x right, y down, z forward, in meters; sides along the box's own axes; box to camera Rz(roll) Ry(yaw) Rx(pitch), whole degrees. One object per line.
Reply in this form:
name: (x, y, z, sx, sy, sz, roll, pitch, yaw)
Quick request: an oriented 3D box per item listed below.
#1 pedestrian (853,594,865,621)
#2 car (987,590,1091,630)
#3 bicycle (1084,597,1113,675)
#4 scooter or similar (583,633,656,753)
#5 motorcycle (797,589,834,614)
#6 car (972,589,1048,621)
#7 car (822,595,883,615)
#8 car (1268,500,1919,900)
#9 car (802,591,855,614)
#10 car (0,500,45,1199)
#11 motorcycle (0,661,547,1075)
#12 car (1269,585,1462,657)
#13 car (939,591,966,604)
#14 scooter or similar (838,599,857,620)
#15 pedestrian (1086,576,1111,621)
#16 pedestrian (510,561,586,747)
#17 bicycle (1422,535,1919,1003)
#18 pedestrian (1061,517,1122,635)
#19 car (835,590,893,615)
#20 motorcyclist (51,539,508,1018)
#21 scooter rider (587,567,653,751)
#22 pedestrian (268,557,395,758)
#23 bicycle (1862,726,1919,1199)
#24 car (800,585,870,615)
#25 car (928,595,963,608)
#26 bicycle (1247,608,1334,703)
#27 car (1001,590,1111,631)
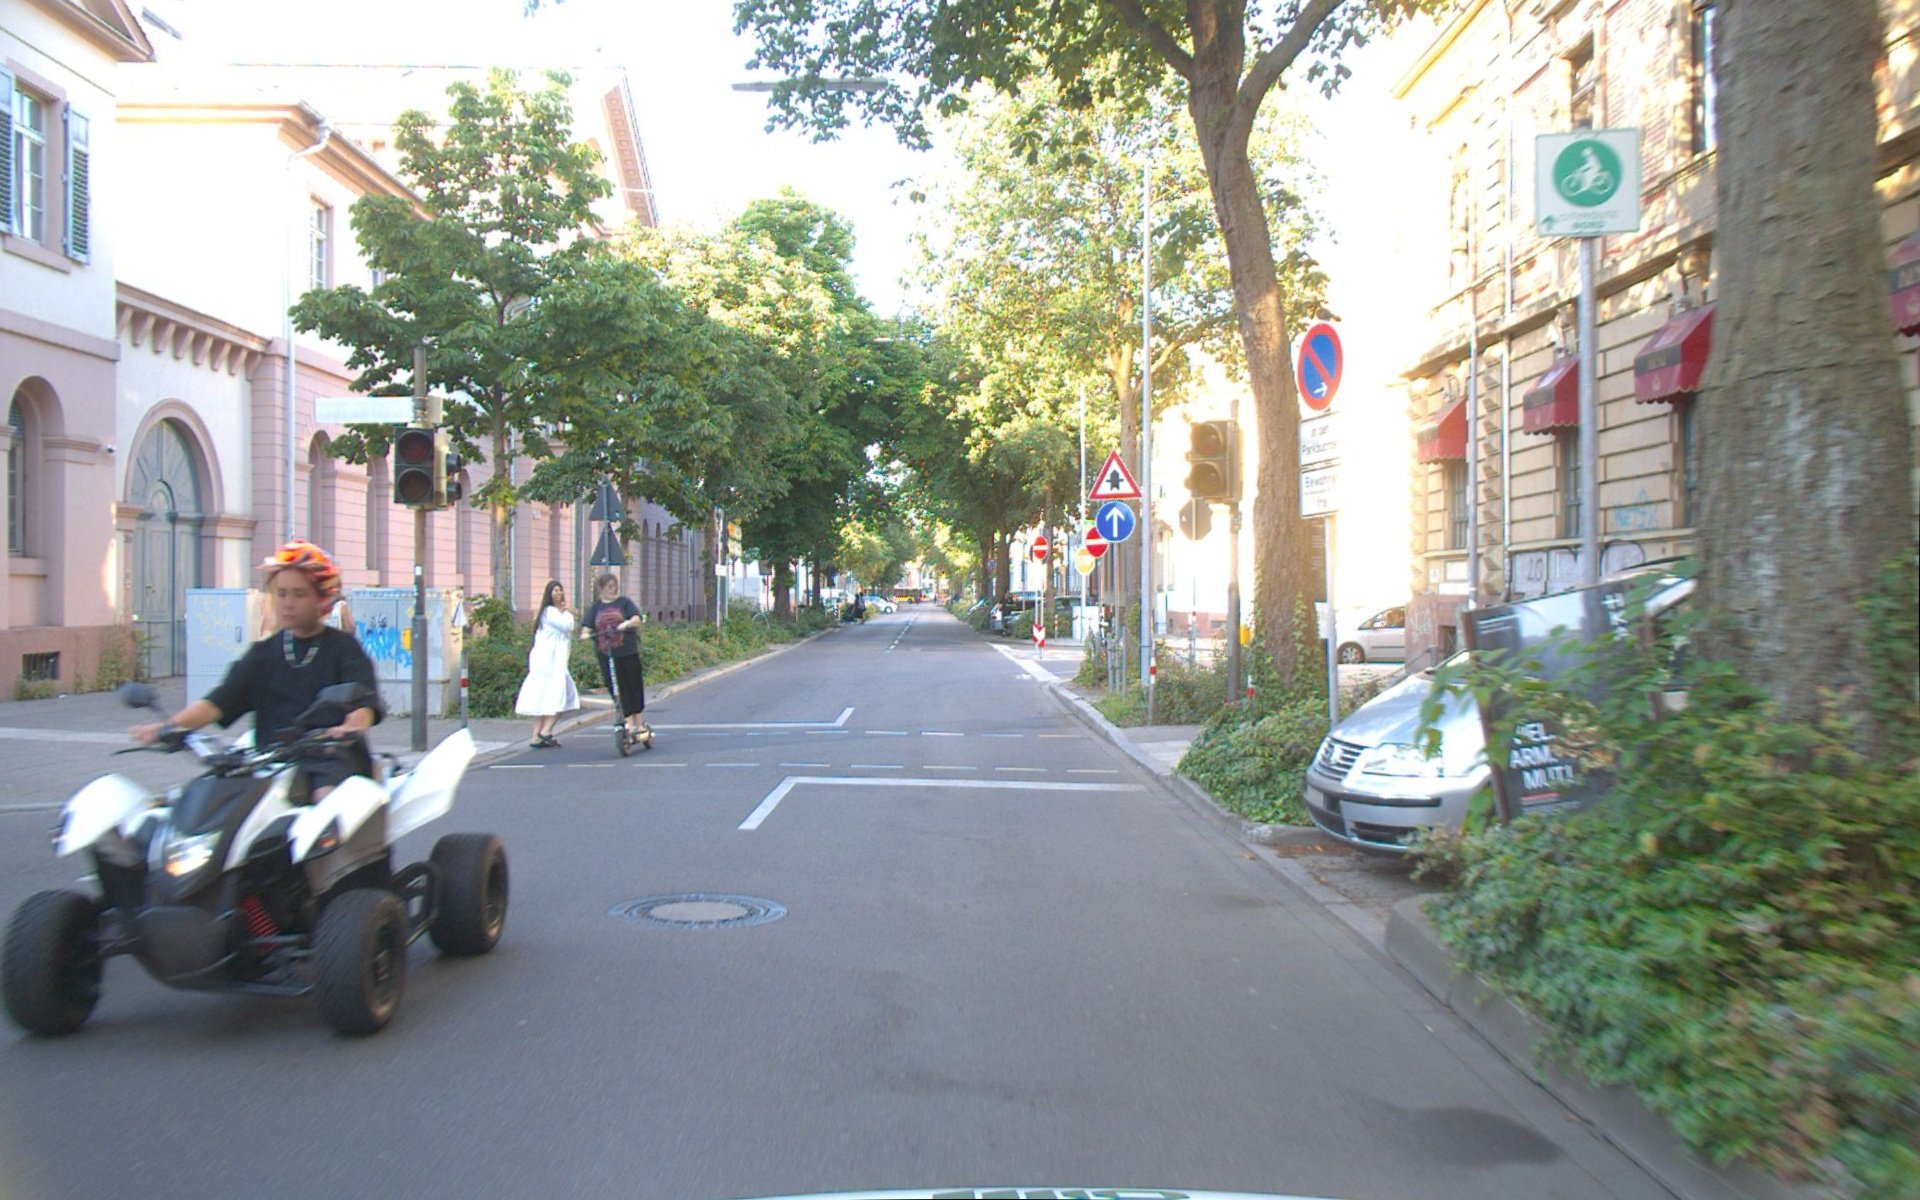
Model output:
pedestrian: (-5.472, 0.417, 89.586, 0.641, 1.419, 0.607, 1, -1, -1)
car: (3.209, 0.409, 67.880, 4.107, 1.506, 1.852, -2, 0, -1)
bicycle: (2.554, 0.651, 30.433, 0.407, 1.396, 1.289, -1, 0, 10)
scooter or similar: (-3.455, 0.923, 16.858, 0.491, 1.165, 1.250, 0, -1, 0)
motorcycle: (-7.551, 0.093, 86.372, 1.880, 1.281, 0.590, 0, 0, -2)
car: (2.675, 0.271, 88.889, 3.934, 1.651, 1.780, -1, 0, -2)
car: (-9.175, 0.401, 141.593, 4.959, 1.645, 2.264, -1, 0, 2)
car: (4.174, 0.470, 9.314, 4.450, 1.948, 1.949, -1, 0, -4)
car: (-9.235, 0.182, 116.136, 3.653, 1.534, 1.871, -1, 0, -5)
car: (-2.549, 0.651, 0.715, 1.838, 1.576, 4.276, -1, 0, 1)
motorcycle: (-2.442, 0.830, 6.050, 1.285, 1.109, 2.396, 0, 0, -1)
car: (9.733, 0.487, 39.931, 4.248, 1.683, 1.886, 0, 0, 1)
car: (-1.131, -0.375, 254.107, 3.902, 1.870, 2.001, 0, 0, 6)
scooter or similar: (-6.135, 0.512, 90.331, 0.877, 1.108, 0.846, 1, 0, 6)
pedestrian: (5.441, -0.072, 65.164, 0.924, 1.736, 0.782, 0, 1, 0)
pedestrian: (-4.369, 0.553, 17.583, 0.755, 1.921, 0.790, 0, 0, -13)
bicycle: (3.410, 0.627, 6.449, 3.052, 1.692, 0.658, 1, 0, -6)
pedestrian: (2.480, -0.437, 31.301, 1.022, 2.184, 1.063, 1, -1, -1)
car: (-8.538, 0.223, 147.002, 4.960, 2.119, 2.263, -1, 0, 0)
motorcyclist: (-2.452, 0.601, 6.147, 1.254, 1.620, 1.077, 0, 0, -1)
scooter rider: (-3.453, 0.583, 16.836, 0.484, 1.823, 0.874, 0, -1, 0)
pedestrian: (-5.932, 0.524, 15.644, 0.773, 1.822, 0.772, 3, 1, 10)
bicycle: (2.704, 0.886, 3.505, 1.310, 1.225, 0.488, -1, 0, -2)
car: (-9.166, 0.017, 121.532, 4.962, 2.119, 2.262, -1, 0, -2)
car: (-1.610, 0.181, 186.933, 3.907, 1.467, 1.696, -1, 0, -3)
bicycle: (4.340, 0.699, 21.848, 0.513, 1.172, 2.247, 0, 0, -5)
car: (3.625, 0.381, 63.105, 4.025, 1.516, 1.849, 0, 1, -2)
